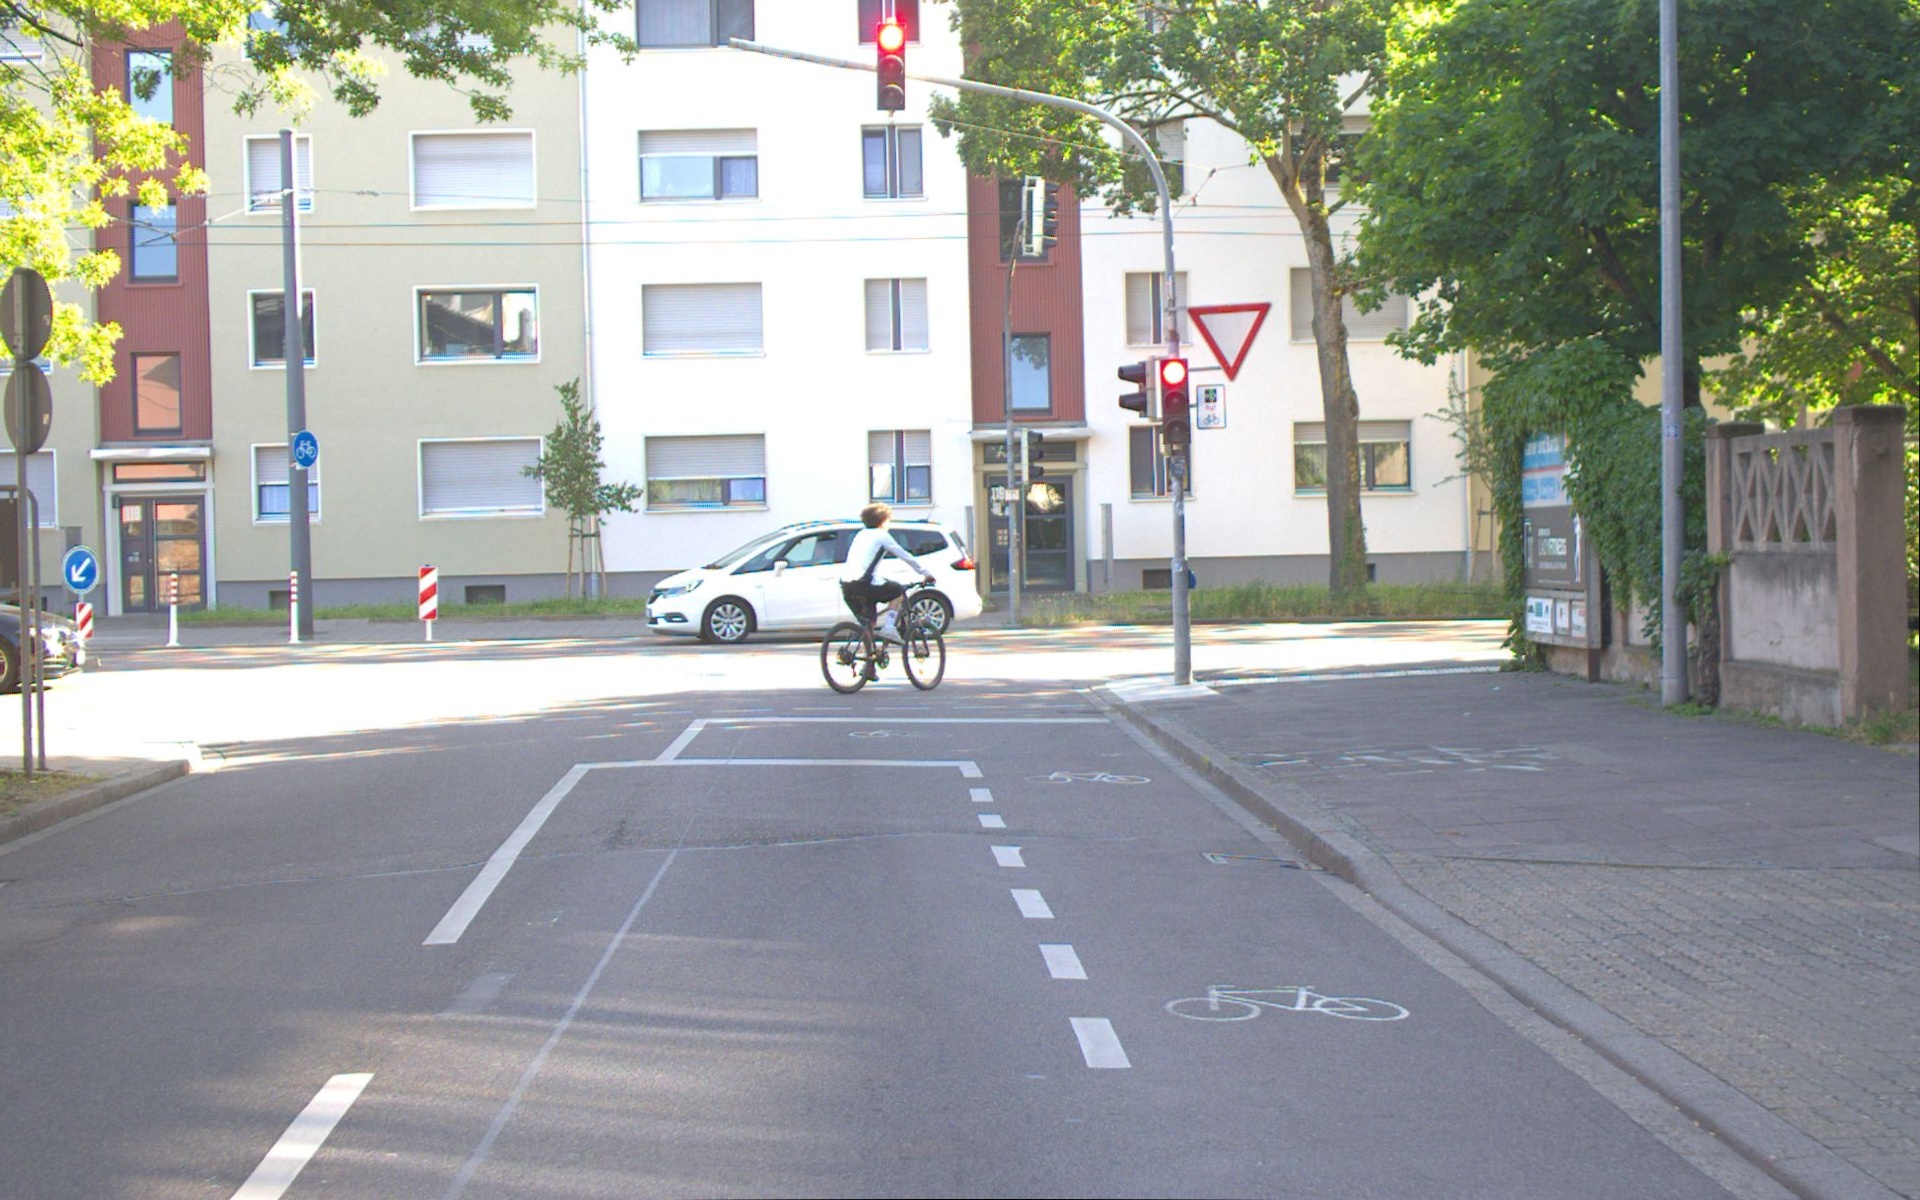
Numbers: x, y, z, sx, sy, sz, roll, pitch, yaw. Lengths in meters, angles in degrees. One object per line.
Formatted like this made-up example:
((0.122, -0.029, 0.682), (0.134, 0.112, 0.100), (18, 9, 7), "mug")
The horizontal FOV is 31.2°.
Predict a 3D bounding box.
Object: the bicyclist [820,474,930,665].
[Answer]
((-0.799, -0.294, 32.206), (0.787, 1.751, 0.612), (-3, 2, -42), "bicyclist")

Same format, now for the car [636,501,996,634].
((-2.019, -0.471, 47.640), (4.660, 1.733, 2.001), (-1, 1, -13), "car")

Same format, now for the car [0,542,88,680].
((-11.521, 0.109, 36.598), (4.192, 1.416, 1.854), (0, 1, -10), "car")

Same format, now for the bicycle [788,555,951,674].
((-0.838, 0.129, 32.156), (1.684, 1.076, 0.351), (0, 1, -42), "bicycle")
